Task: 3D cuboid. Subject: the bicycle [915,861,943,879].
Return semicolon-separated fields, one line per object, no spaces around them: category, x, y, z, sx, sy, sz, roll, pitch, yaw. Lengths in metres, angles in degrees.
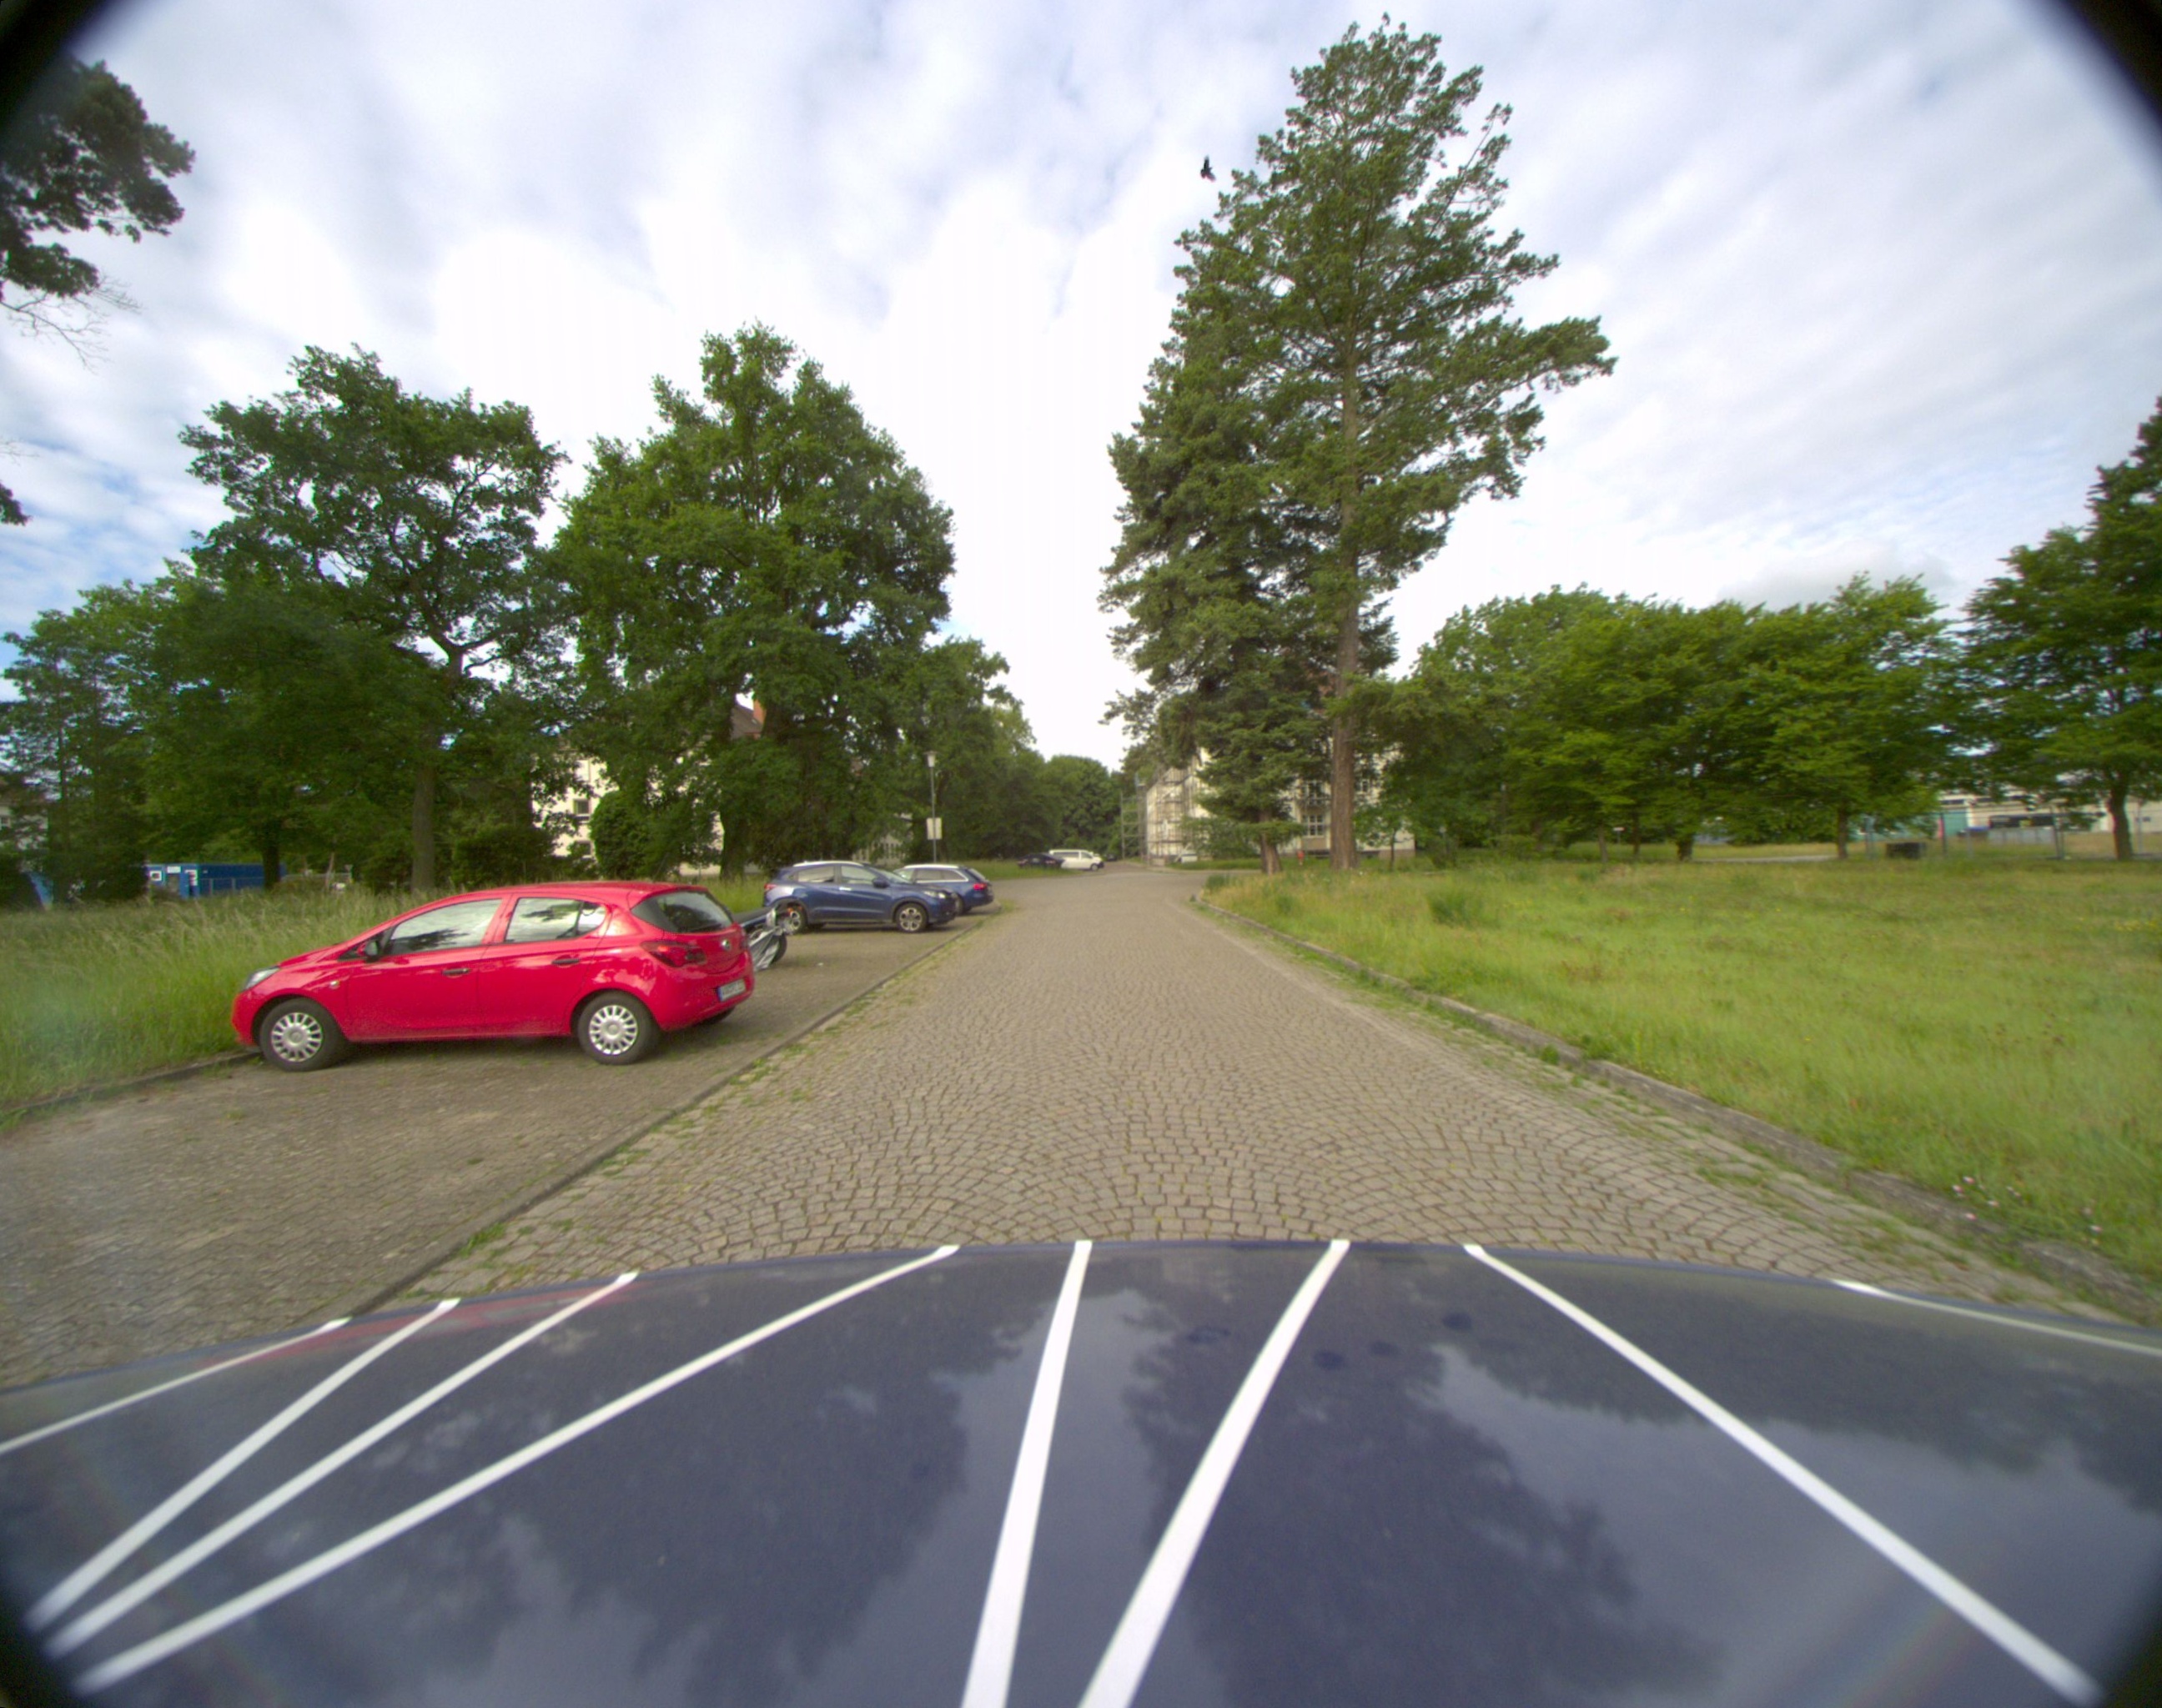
bicycle;-11.185;1.170;56.022;1.940;1.163;0.537;-4;1;-15

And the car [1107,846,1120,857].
car;5.858;-0.434;137.001;1.962;2.002;4.260;-1;1;-1

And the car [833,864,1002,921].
car;-4.620;1.076;21.887;4.367;1.431;1.927;-1;1;3

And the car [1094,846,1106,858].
car;3.320;-0.339;136.783;1.962;2.002;4.260;-1;1;-1

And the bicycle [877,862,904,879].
bicycle;-13.844;1.179;55.272;1.859;1.163;0.488;-1;1;-9

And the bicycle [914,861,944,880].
bicycle;-10.834;1.170;54.167;1.941;1.163;0.487;-4;1;-21

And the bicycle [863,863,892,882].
bicycle;-13.925;1.260;51.985;1.861;1.163;0.487;-3;1;-21

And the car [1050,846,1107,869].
car;-0.214;0.346;70.645;5.149;2.002;2.000;-1;1;0

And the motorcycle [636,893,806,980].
motorcycle;-5.340;1.218;11.345;2.236;1.195;0.568;-1;1;-1

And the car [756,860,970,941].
car;-4.787;0.993;17.146;4.256;1.613;1.886;-1;1;-1

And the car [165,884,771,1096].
car;-5.149;1.097;6.847;3.933;1.488;1.784;-1;1;-1
